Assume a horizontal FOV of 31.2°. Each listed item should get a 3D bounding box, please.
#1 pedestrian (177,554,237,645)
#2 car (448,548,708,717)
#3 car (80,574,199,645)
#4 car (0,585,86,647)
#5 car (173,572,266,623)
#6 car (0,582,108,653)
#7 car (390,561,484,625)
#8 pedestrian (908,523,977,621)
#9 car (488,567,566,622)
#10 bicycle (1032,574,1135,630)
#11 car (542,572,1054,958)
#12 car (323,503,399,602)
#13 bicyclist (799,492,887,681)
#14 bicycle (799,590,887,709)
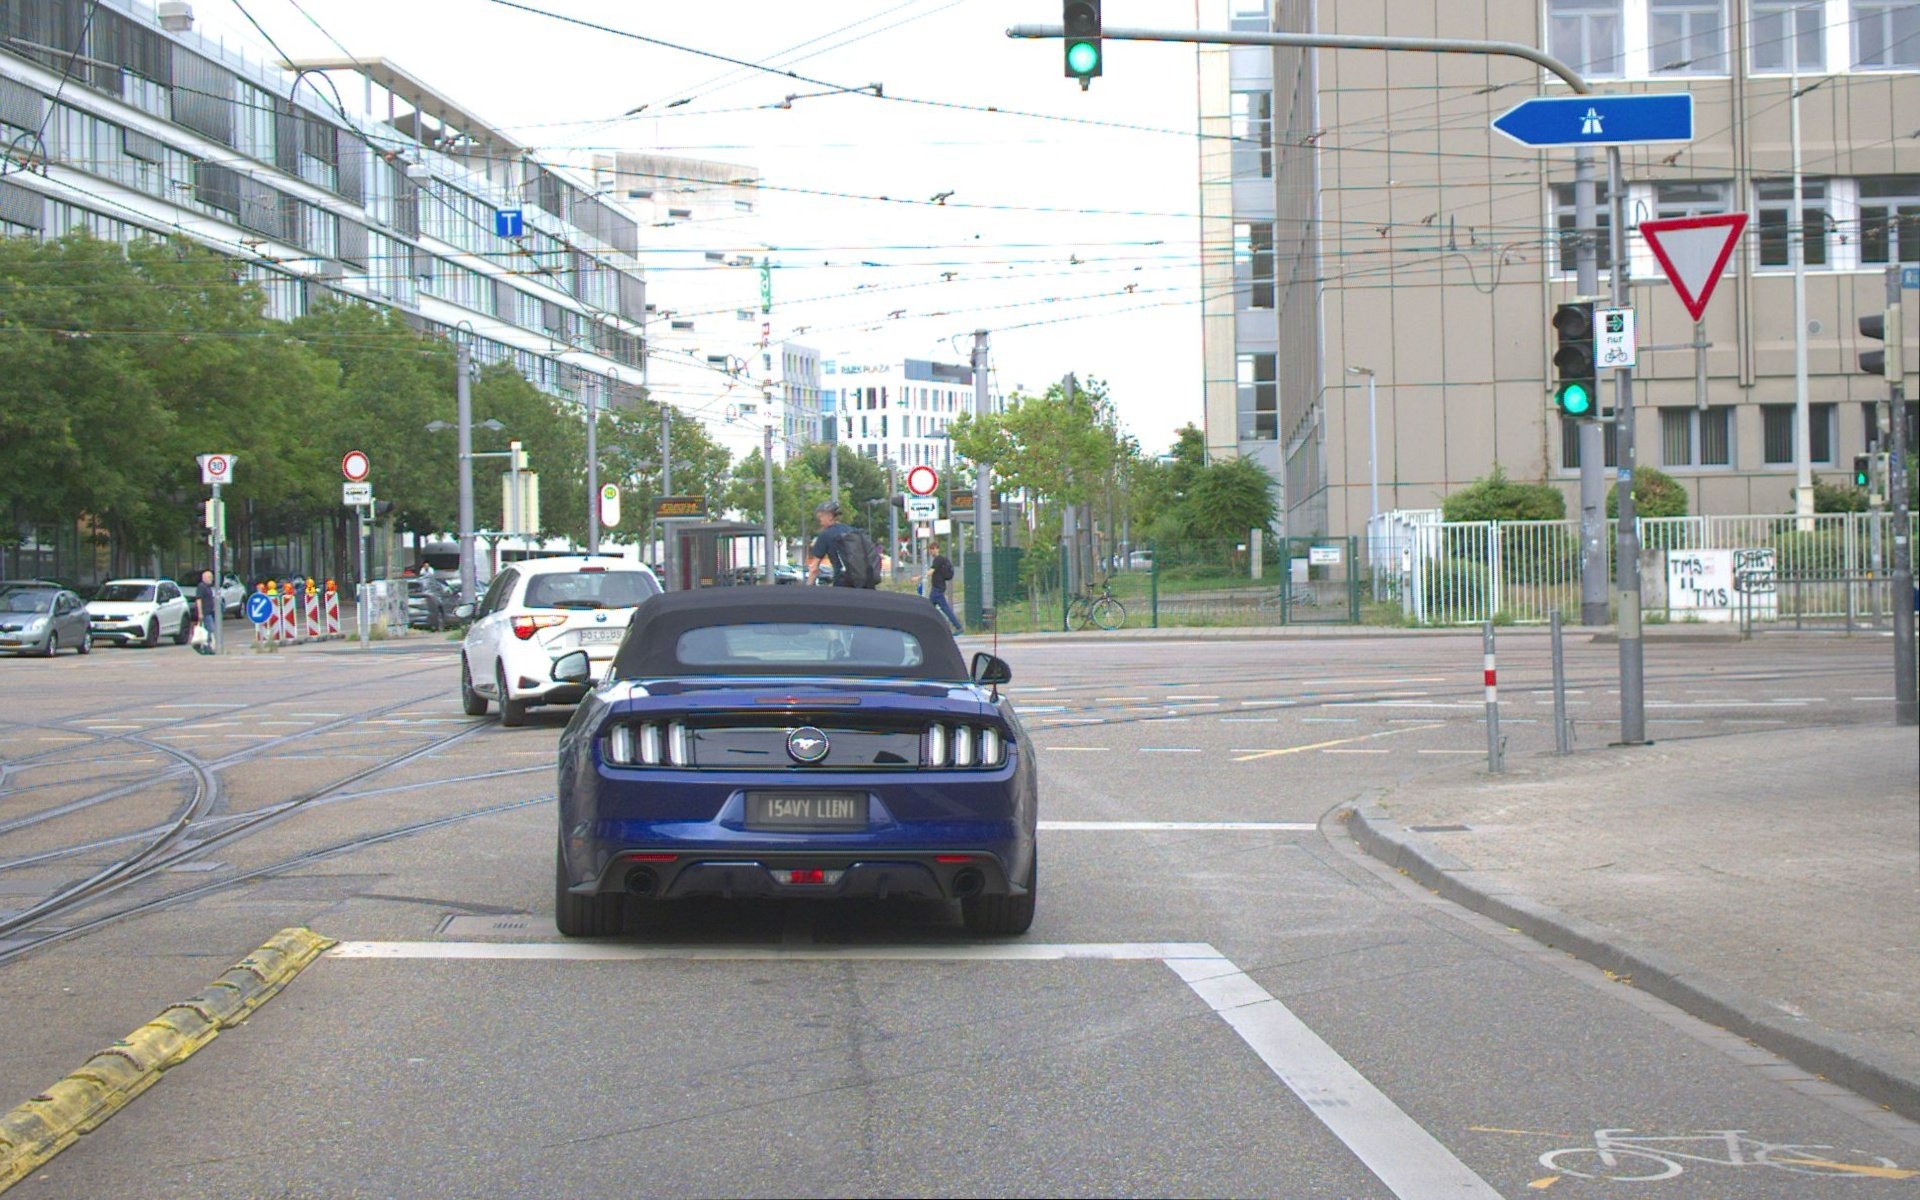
[{"bbox_3d":[-15.598,-0.006,71.236,0.989,1.849,0.902,-1,0,3],"label":"pedestrian"},{"bbox_3d":[-3.641,0.272,32.165,1.834,1.434,4.188,-1,1,-14],"label":"car"},{"bbox_3d":[-20.179,0.203,84.660,1.715,1.654,4.132,1,1,3],"label":"car"},{"bbox_3d":[-25.065,0.411,92.486,1.830,1.551,4.216,1,1,3],"label":"car"},{"bbox_3d":[-23.824,-0.096,110.736,1.986,1.551,4.512,1,1,1],"label":"car"},{"bbox_3d":[-20.676,0.368,77.455,1.668,1.501,4.234,1,1,3],"label":"car"},{"bbox_3d":[-13.893,-0.197,91.528,1.879,1.623,4.087,-1,1,-1],"label":"car"},{"bbox_3d":[-0.341,-0.546,67.600,1.087,1.892,0.901,-1,0,18],"label":"pedestrian"},{"bbox_3d":[-13.237,-0.181,105.193,1.868,1.600,4.213,-1,1,-1],"label":"car"},{"bbox_3d":[2.410,0.047,67.298,0.632,0.977,2.157,-2,-2,-42],"label":"bicycle"},{"bbox_3d":[-0.784,0.590,14.769,1.876,1.399,4.283,0,1,-5],"label":"car"},{"bbox_3d":[-22.580,-1.801,129.747,1.986,3.624,4.512,1,1,1],"label":"car"},{"bbox_3d":[-1.140,-0.137,33.234,0.796,1.779,1.233,-1,0,-3],"label":"bicyclist"},{"bbox_3d":[-1.141,0.457,33.281,0.800,1.083,2.132,-1,1,-2],"label":"bicycle"}]
